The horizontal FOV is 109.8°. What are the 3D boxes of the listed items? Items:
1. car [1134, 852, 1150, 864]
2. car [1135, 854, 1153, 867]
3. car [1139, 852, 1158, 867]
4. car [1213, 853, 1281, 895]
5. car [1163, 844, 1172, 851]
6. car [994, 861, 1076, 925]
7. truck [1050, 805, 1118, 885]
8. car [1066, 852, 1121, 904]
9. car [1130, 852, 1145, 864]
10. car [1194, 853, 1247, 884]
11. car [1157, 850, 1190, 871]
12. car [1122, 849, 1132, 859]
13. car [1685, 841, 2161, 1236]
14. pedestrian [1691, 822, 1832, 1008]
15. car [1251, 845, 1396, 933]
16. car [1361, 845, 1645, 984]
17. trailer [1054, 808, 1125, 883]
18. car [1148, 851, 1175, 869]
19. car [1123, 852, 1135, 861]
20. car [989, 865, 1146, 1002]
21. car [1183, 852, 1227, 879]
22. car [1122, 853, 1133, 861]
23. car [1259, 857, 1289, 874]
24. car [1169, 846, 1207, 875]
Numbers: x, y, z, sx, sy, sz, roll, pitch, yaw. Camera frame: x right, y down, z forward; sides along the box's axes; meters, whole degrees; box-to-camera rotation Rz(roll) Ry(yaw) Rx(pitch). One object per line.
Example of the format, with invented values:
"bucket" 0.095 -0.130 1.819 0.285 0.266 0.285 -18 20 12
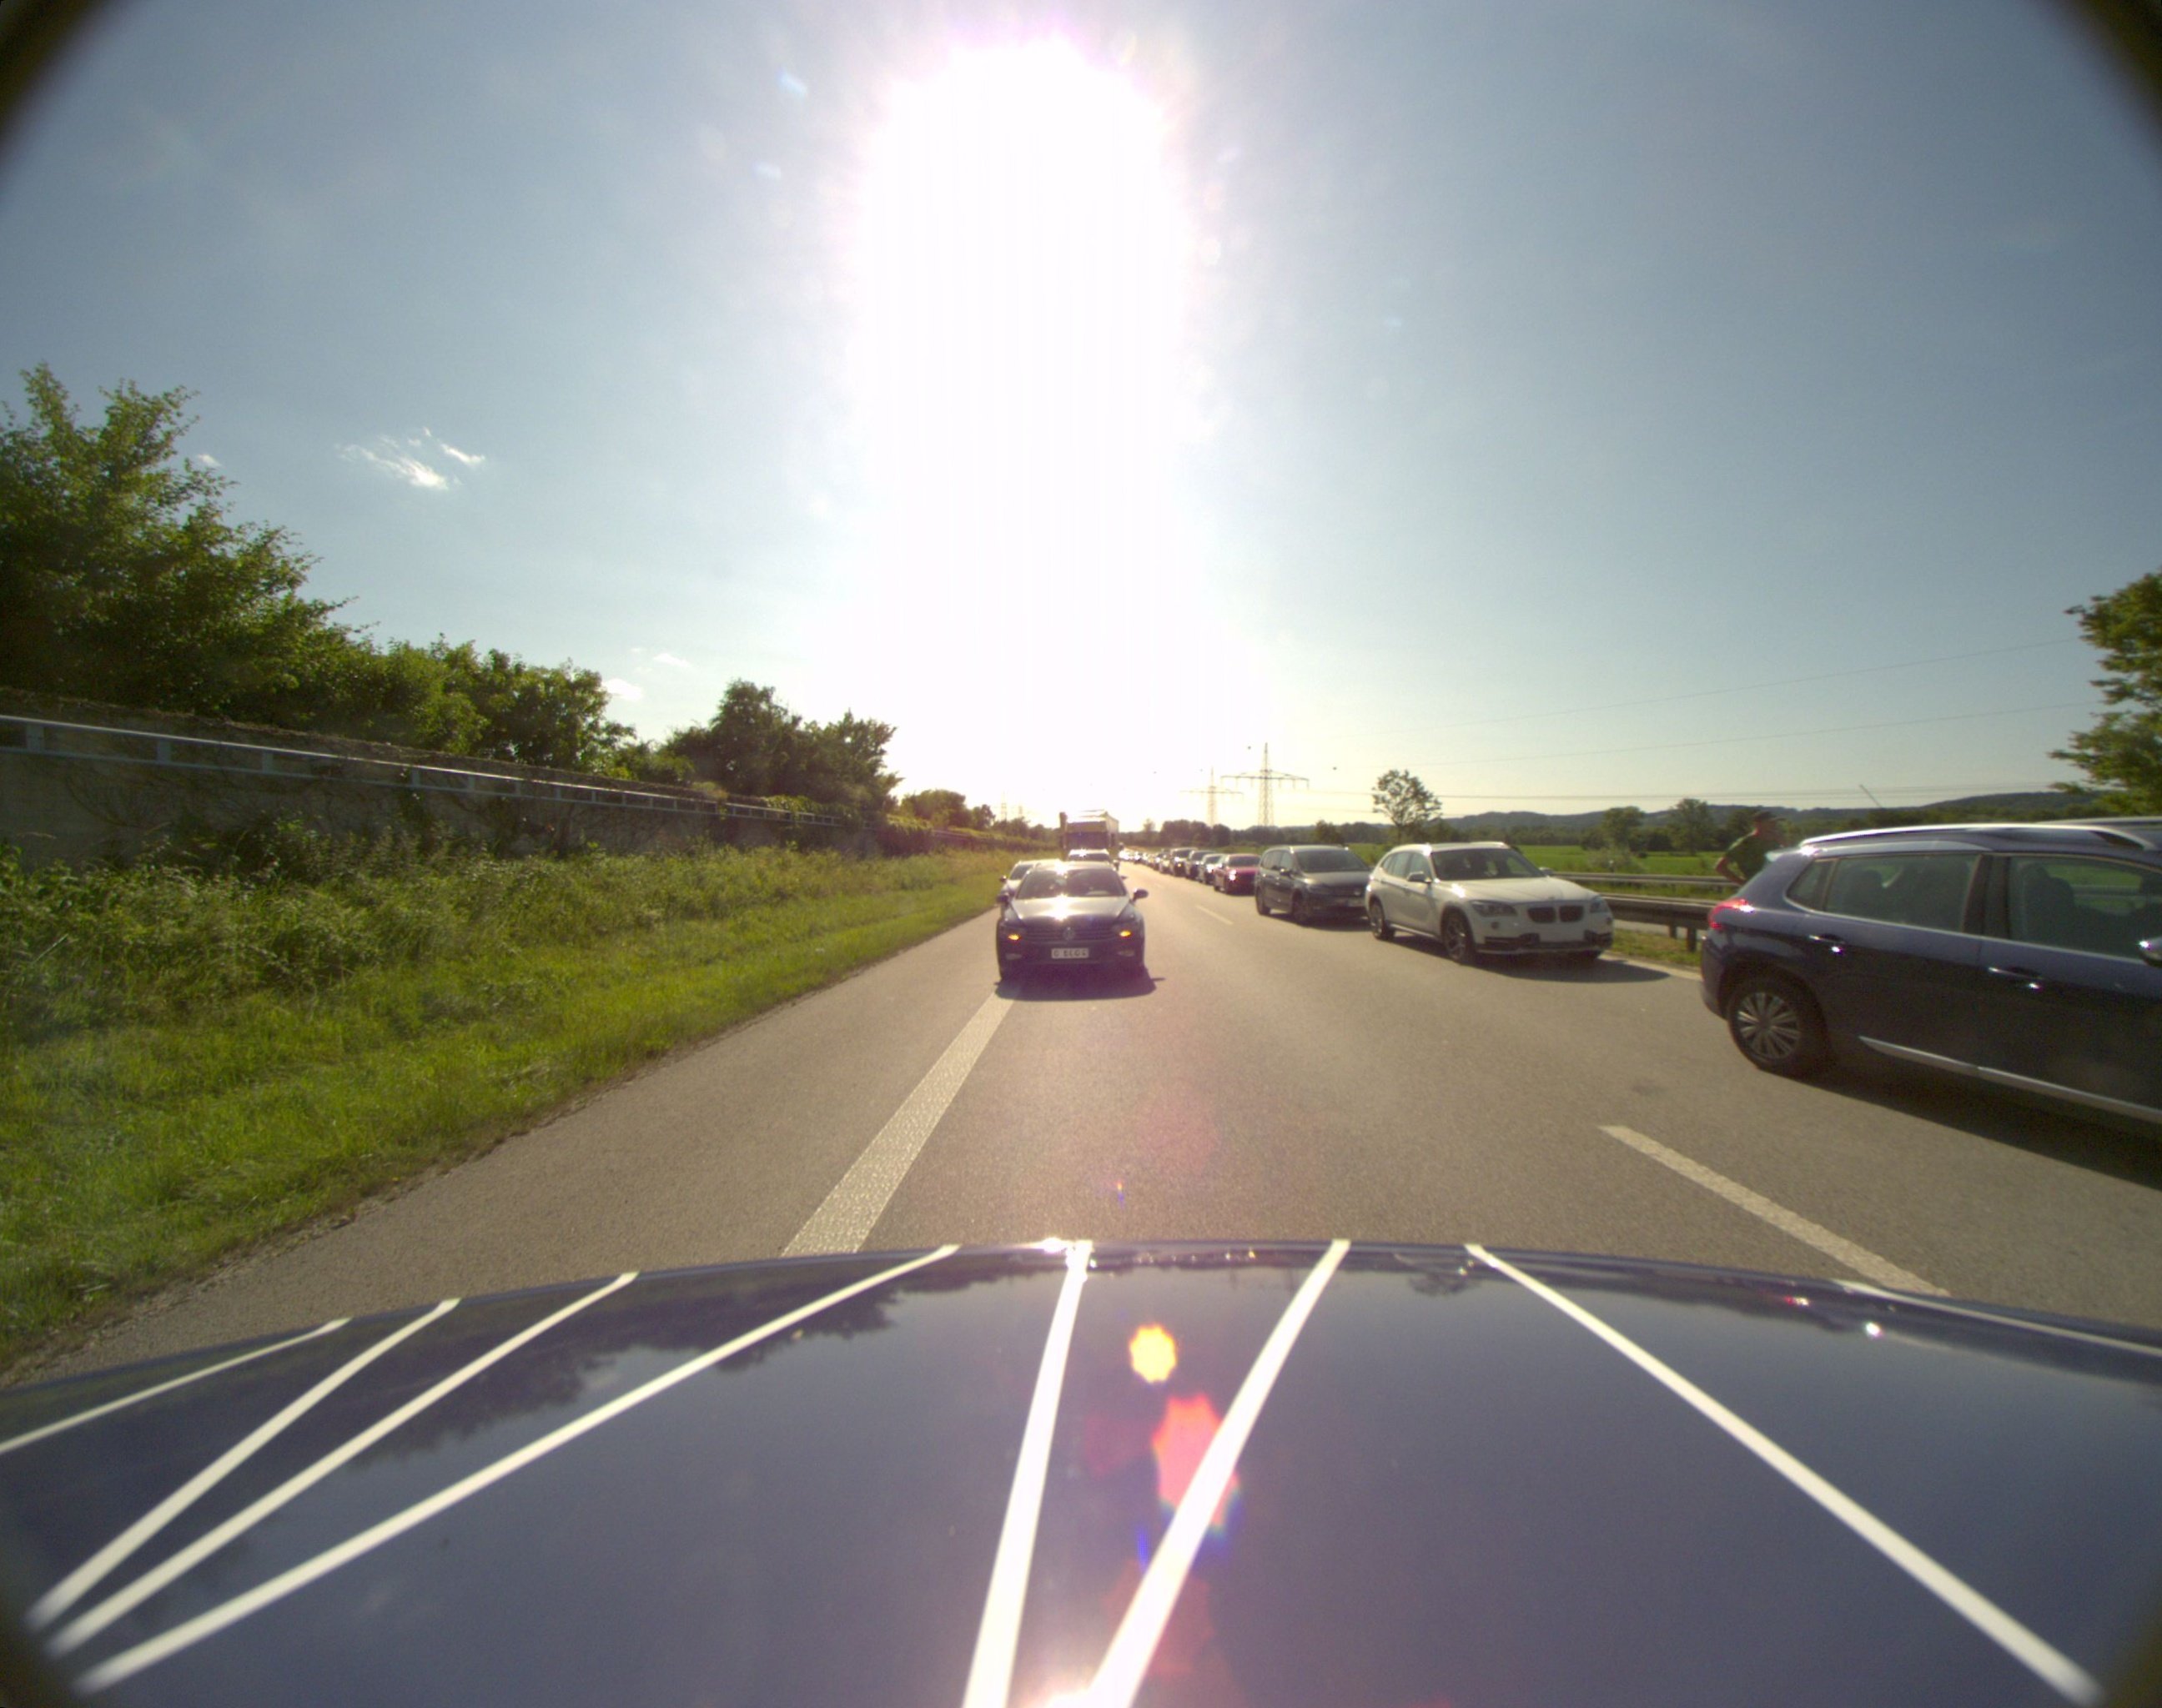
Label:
"car" 7.760 0.503 97.220 1.819 1.450 4.118 -1 0 2
"car" 7.169 0.747 86.536 1.819 1.450 4.117 -1 0 1
"car" 7.091 0.549 79.943 1.819 1.450 4.118 -2 0 3
"car" 6.090 0.692 28.319 1.819 1.450 4.118 -1 0 3
"car" 21.202 -1.663 186.496 1.863 1.622 4.393 -2 1 3
"car" -1.108 0.941 20.149 1.716 1.417 4.326 -2 0 2
"truck" 0.320 -0.496 43.424 3.332 4.089 6.970 -2 1 3
"car" 0.470 0.761 26.576 1.716 1.614 4.325 -2 0 2
"car" 7.780 0.542 105.649 1.819 1.450 4.117 -2 0 1
"car" 6.735 0.655 37.010 1.895 1.390 4.000 -1 0 1
"car" 6.919 0.446 57.144 1.998 1.522 4.000 -1 0 1
"car" 8.503 0.037 140.998 1.813 1.783 3.773 -1 0 1
"car" 5.146 0.734 3.356 1.692 1.526 3.948 -3 0 -2
"pedestrian" 6.725 0.575 7.555 0.672 1.740 0.814 -1 1 1
"car" 5.076 0.654 16.516 1.819 1.606 4.117 -2 0 1
"car" 5.626 0.689 10.839 1.832 1.564 4.164 -1 0 2
"trailer" 0.861 -0.588 49.511 3.386 4.089 13.955 -2 1 5
"car" 7.001 0.495 66.438 1.998 1.522 4.000 -1 0 1
"car" 7.932 0.380 126.024 1.819 1.450 4.118 -2 0 3
"car" -0.090 0.927 10.706 1.716 1.405 4.326 -2 0 2
"car" 6.979 0.597 43.097 1.894 1.446 4.000 -1 0 2
"car" 8.070 0.537 131.670 1.819 1.450 4.118 -1 0 3
"car" 17.986 1.050 70.869 1.716 1.405 4.567 -2 0 2
"car" 6.975 0.408 49.967 1.902 1.777 4.200 -1 0 1
